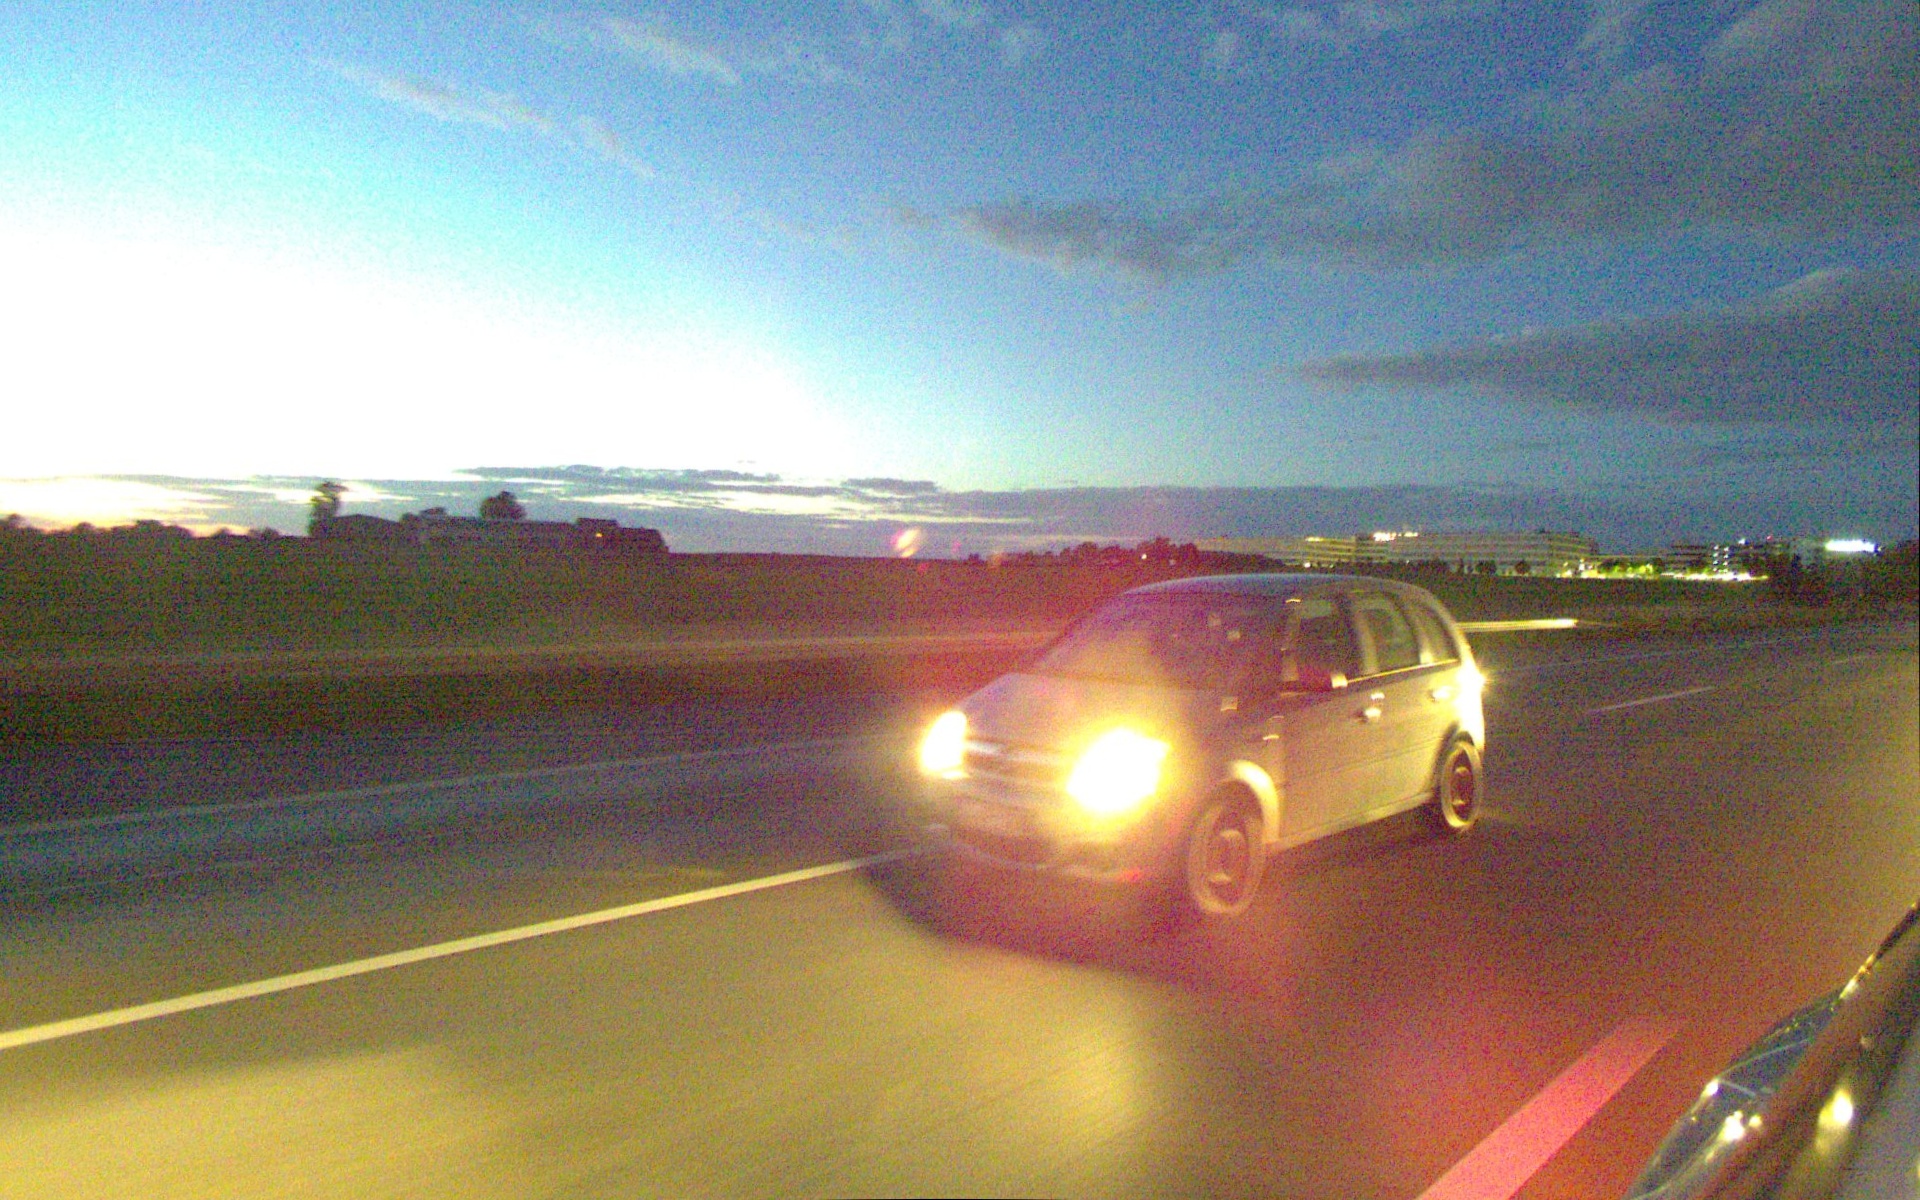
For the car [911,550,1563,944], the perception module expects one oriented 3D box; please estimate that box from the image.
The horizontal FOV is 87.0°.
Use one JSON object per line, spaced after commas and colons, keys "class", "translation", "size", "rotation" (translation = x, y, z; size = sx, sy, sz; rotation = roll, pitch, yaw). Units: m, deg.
{"class": "car", "translation": [1.960, 0.580, 6.222], "size": [4.430, 1.616, 1.649], "rotation": [0, 1, -40]}
